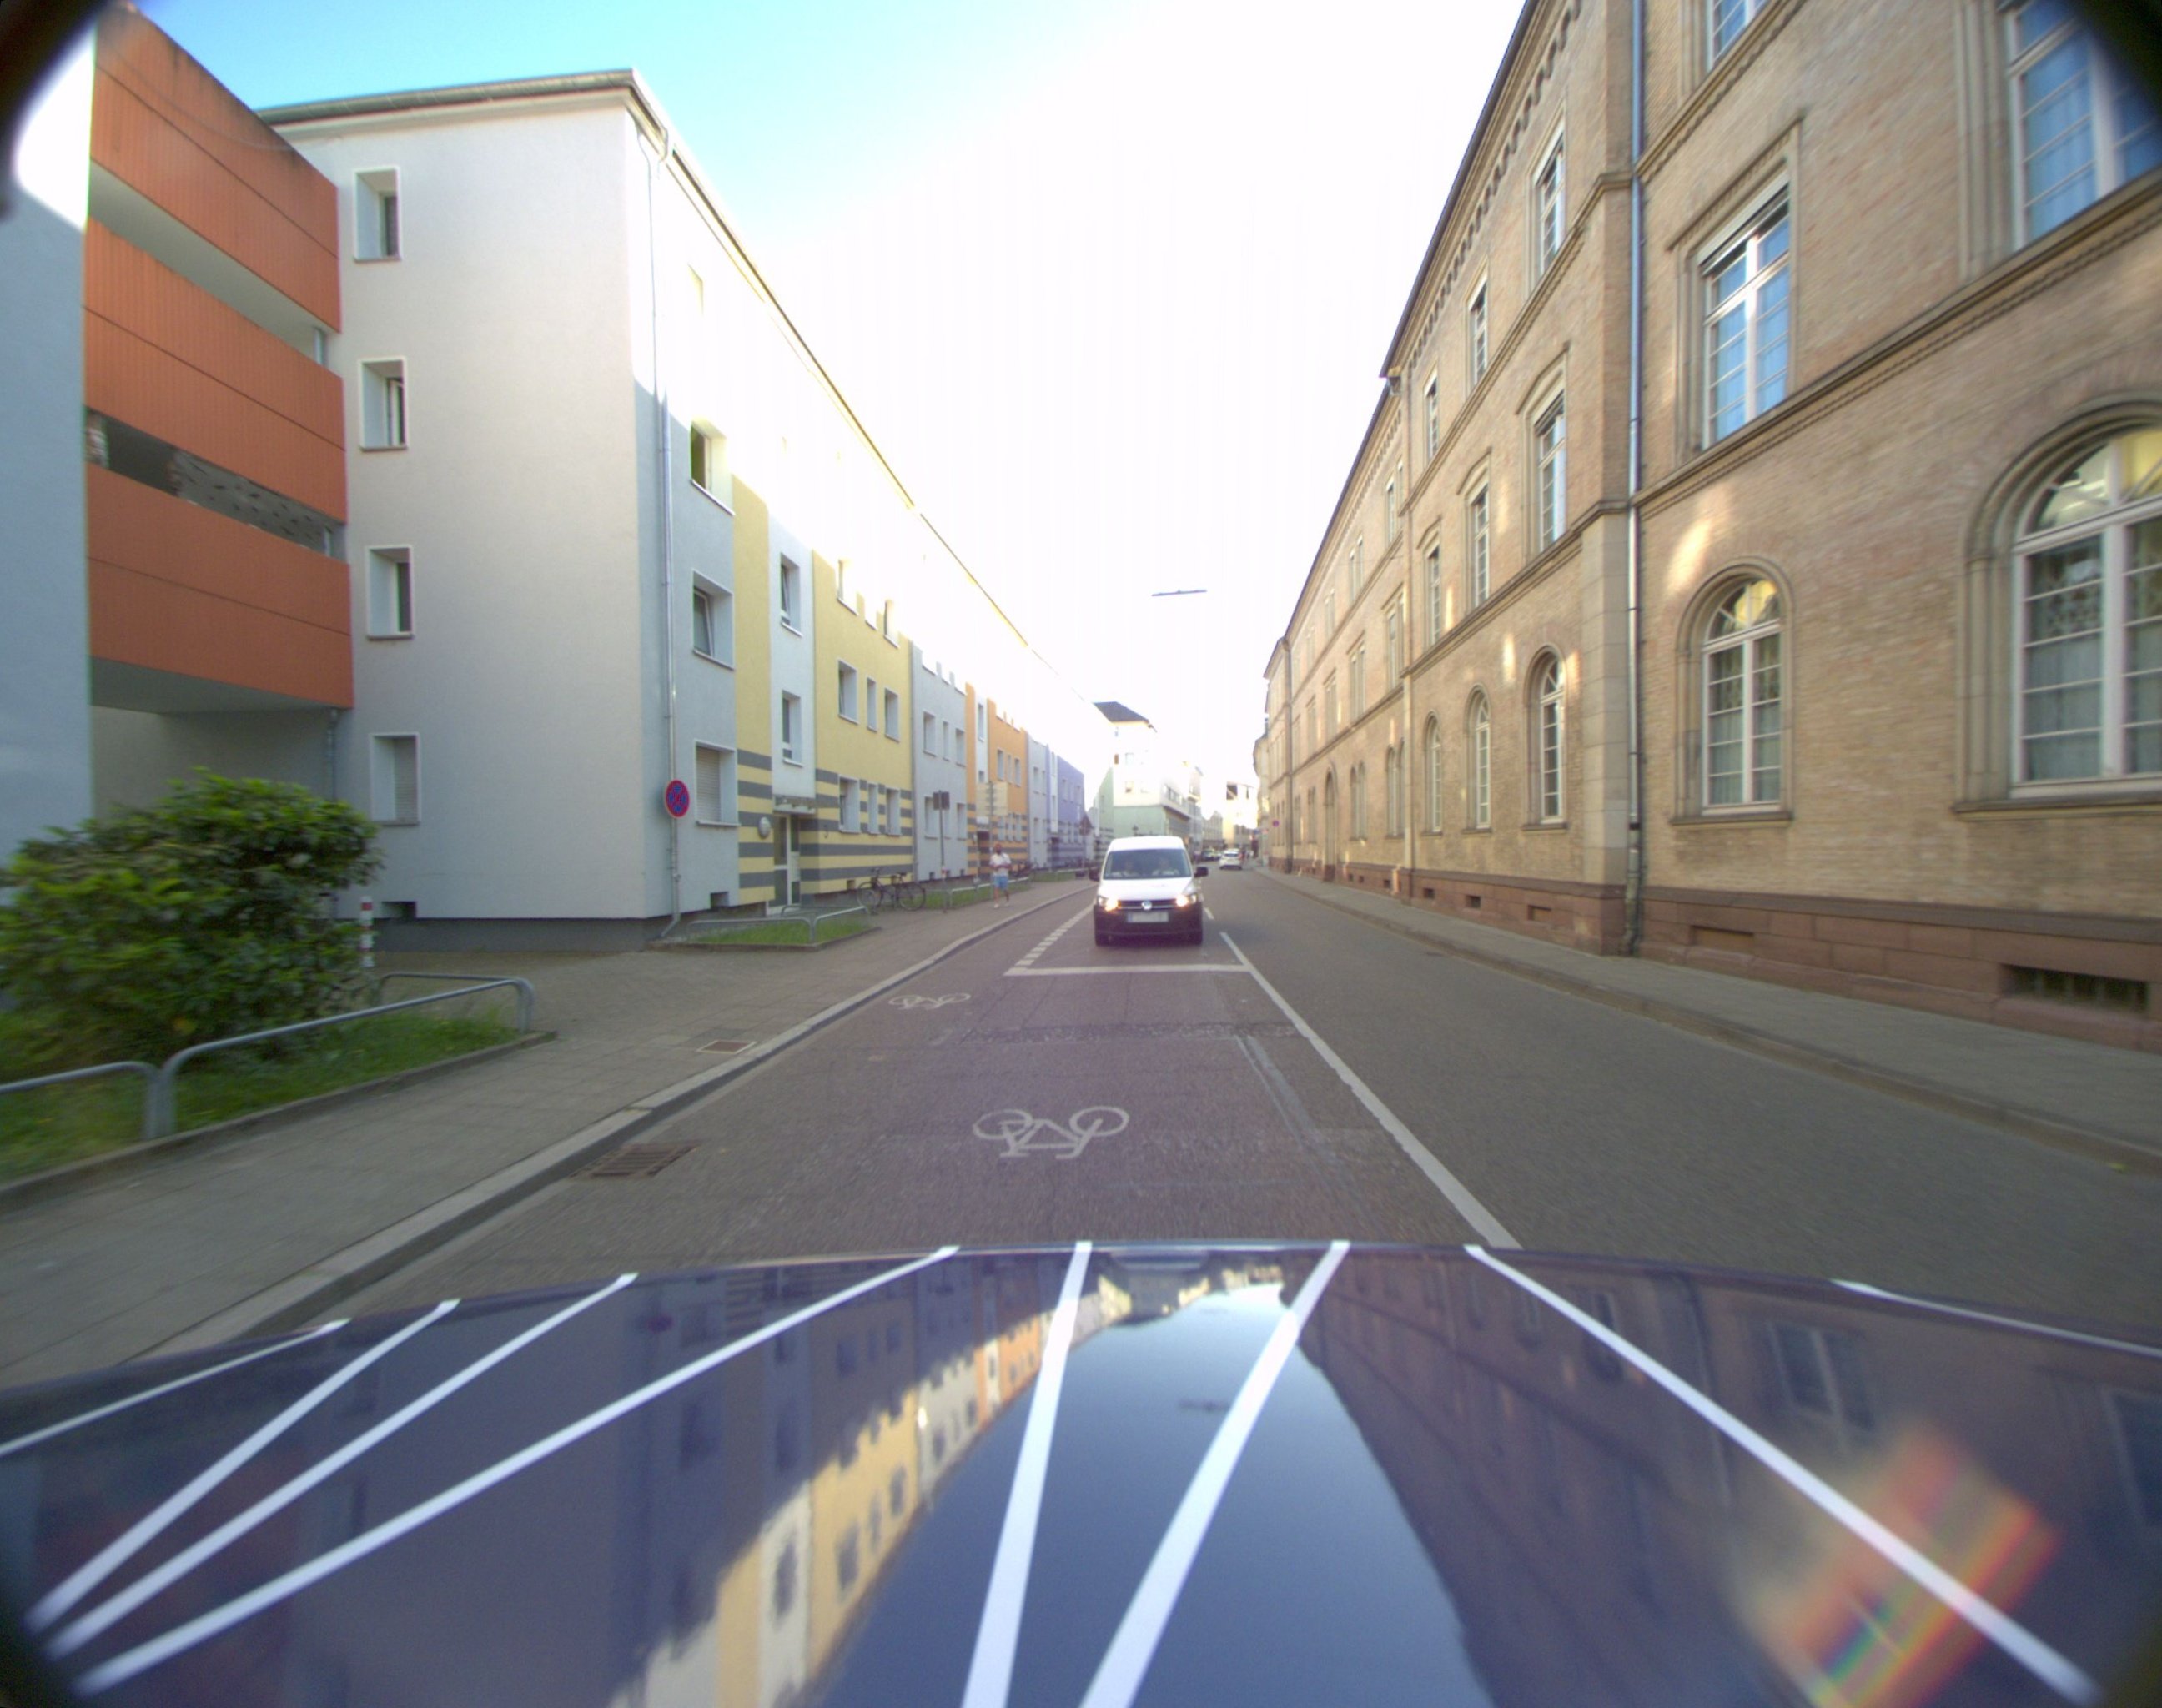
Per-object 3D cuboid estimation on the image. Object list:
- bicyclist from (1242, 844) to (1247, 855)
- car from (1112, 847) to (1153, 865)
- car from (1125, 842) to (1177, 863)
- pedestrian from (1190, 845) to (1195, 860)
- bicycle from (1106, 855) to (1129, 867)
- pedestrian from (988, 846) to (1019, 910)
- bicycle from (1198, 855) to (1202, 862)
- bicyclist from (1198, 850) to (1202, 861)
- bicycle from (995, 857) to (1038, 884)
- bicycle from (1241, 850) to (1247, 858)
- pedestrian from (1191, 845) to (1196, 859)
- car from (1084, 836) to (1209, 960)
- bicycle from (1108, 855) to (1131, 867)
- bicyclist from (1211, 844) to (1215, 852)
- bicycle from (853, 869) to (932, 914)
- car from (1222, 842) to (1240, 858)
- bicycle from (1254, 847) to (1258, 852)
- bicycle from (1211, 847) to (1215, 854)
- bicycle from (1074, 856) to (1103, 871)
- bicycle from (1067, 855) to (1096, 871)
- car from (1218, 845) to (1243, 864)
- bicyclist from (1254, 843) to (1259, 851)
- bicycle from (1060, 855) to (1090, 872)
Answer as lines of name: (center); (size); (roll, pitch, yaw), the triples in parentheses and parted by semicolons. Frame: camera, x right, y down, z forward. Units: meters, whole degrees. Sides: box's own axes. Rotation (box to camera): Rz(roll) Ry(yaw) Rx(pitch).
bicyclist: (21.043, -0.545, 97.964); (0.604, 1.434, 0.579); (-1, 1, 10)
car: (5.317, 0.193, 78.628); (3.994, 1.682, 1.902); (-3, 1, 10)
car: (6.902, -0.129, 74.583); (4.760, 1.927, 2.002); (-1, 1, 14)
pedestrian: (12.492, -0.180, 85.205); (0.508, 1.752, 0.412); (-1, 1, 10)
bicycle: (2.979, 0.562, 61.365); (1.774, 0.934, 0.584); (1, 2, 13)
pedestrian: (-2.040, 0.614, 20.142); (0.644, 1.662, 0.835); (0, 1, 8)
bicycle: (12.197, 0.459, 77.909); (0.348, 0.719, 1.118); (-1, 1, 7)
bicyclist: (12.192, 0.171, 77.908); (0.348, 1.101, 0.368); (-1, 1, 7)
bicycle: (-2.788, 0.692, 32.799); (1.776, 1.118, 0.584); (1, 2, 4)
bicycle: (21.101, -0.023, 98.199); (0.608, 0.922, 2.266); (-1, 1, 10)
pedestrian: (13.022, -0.221, 88.161); (0.508, 1.552, 0.412); (-1, 1, 10)
car: (1.251, 0.627, 13.921); (1.818, 1.826, 5.343); (-1, 1, 6)
bicycle: (3.202, 0.573, 62.889); (1.774, 0.934, 0.584); (1, 2, 13)
bicyclist: (20.561, -0.935, 118.391); (0.548, 1.204, 0.584); (-1, 1, 11)
bicycle: (-4.605, 0.906, 18.571); (1.776, 1.043, 0.583); (1, 2, 1)
car: (14.999, -0.408, 76.077); (1.688, 1.573, 4.278); (1, 1, 11)
bicycle: (30.989, -0.803, 134.246); (0.651, 1.001, 1.877); (2, 1, 14)
bicycle: (20.571, -0.488, 118.409); (0.548, 1.076, 1.965); (-1, 1, 11)
bicycle: (0.498, 0.589, 49.284); (1.774, 0.934, 0.584); (1, 2, 13)
bicycle: (0.052, 0.562, 48.707); (1.774, 0.990, 0.584); (1, 2, 13)
car: (12.300, 0.039, 62.750); (1.890, 1.467, 4.548); (1, 1, 10)
bicyclist: (30.973, -1.263, 134.163); (0.651, 1.500, 1.112); (2, 1, 15)
bicycle: (-0.348, 0.592, 47.396); (1.774, 0.990, 0.584); (1, 2, 13)
